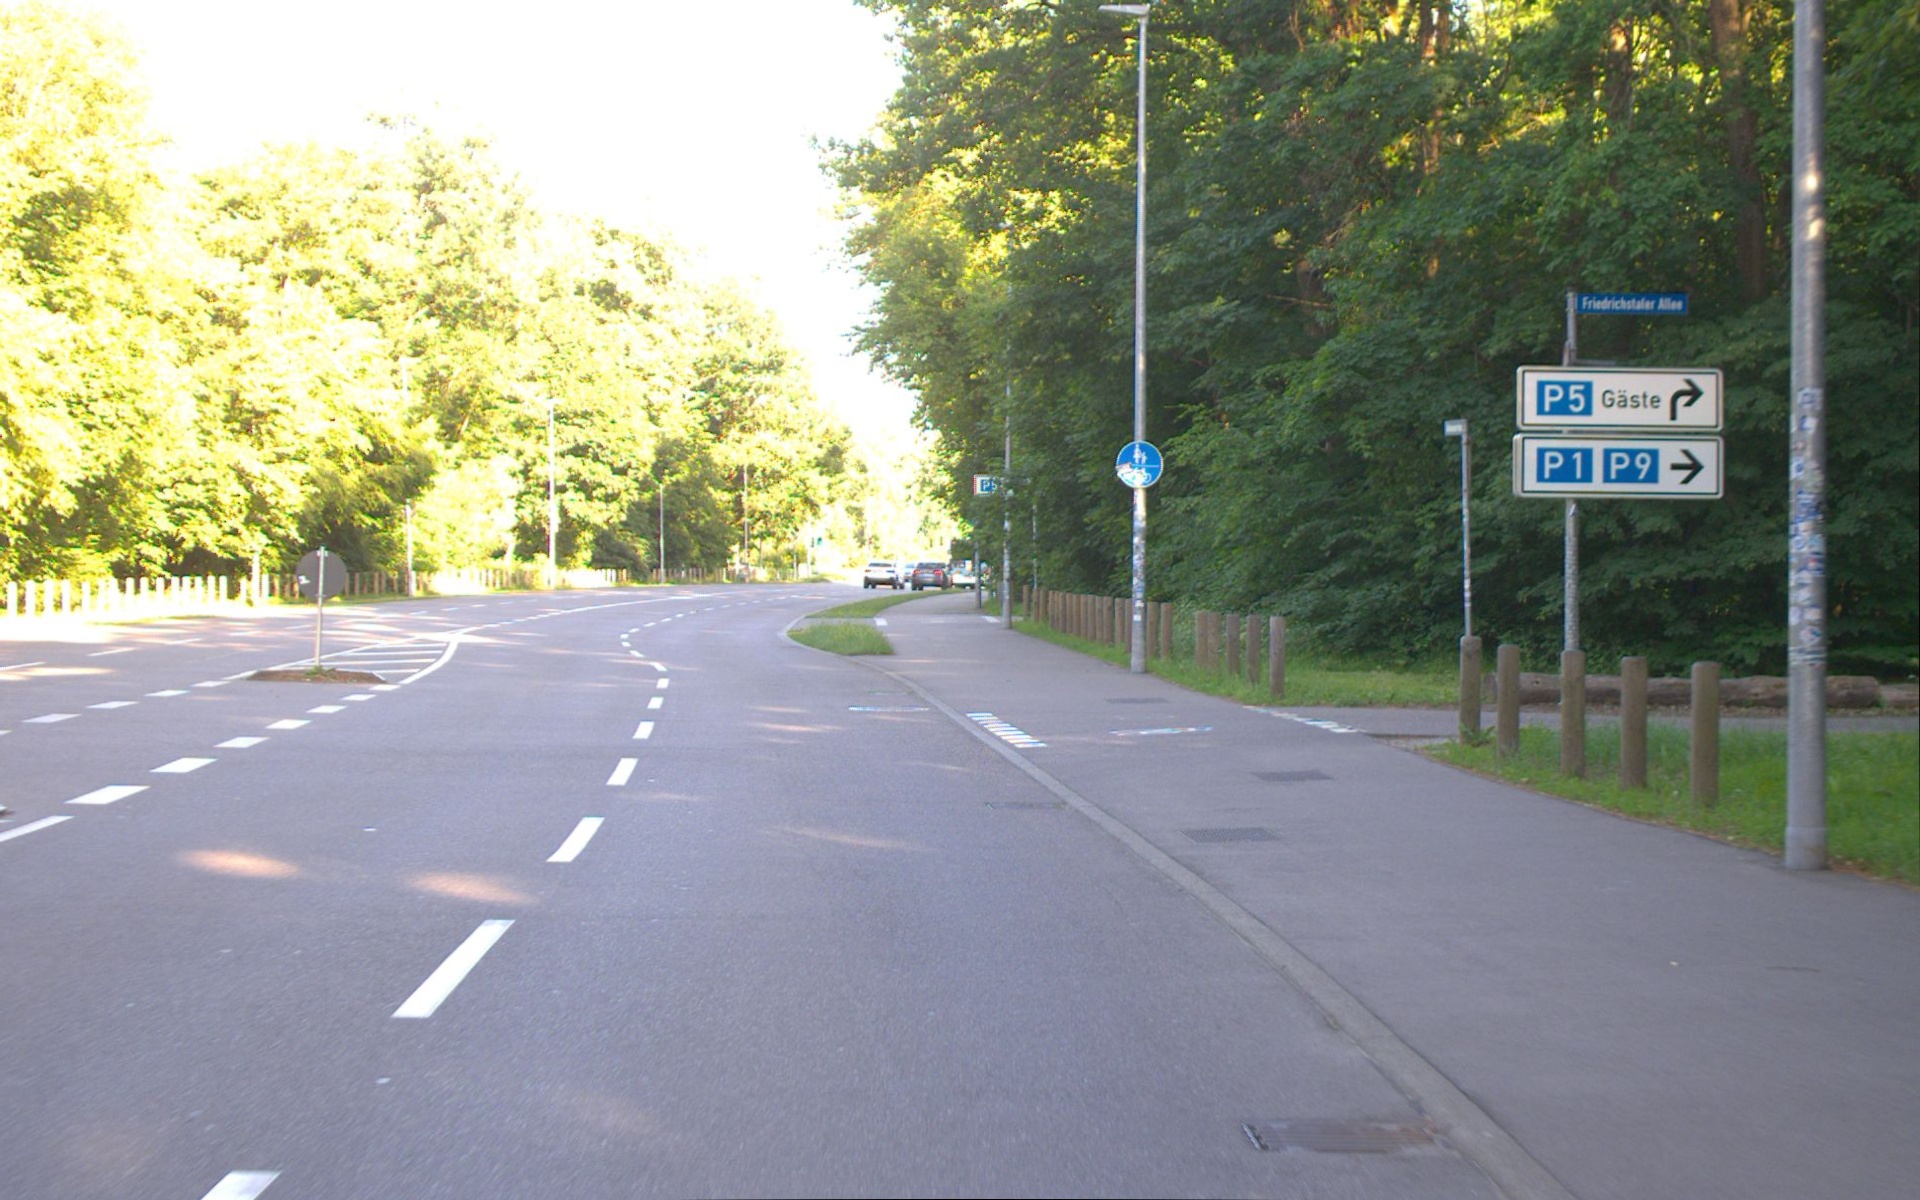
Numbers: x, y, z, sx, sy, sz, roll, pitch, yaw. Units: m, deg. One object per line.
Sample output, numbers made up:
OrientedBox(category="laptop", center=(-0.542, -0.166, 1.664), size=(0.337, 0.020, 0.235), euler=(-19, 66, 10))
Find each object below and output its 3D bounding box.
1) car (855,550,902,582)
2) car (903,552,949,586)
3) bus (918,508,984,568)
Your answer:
OrientedBox(category="car", center=(-4.447, -1.851, 188.058), size=(1.881, 1.703, 3.999), euler=(0, 1, 9))
OrientedBox(category="car", center=(-1.818, -1.685, 185.352), size=(1.881, 1.759, 3.999), euler=(0, 1, 9))
OrientedBox(category="bus", center=(-0.485, -3.612, 200.961), size=(2.606, 3.357, 7.973), euler=(1, 1, 9))
